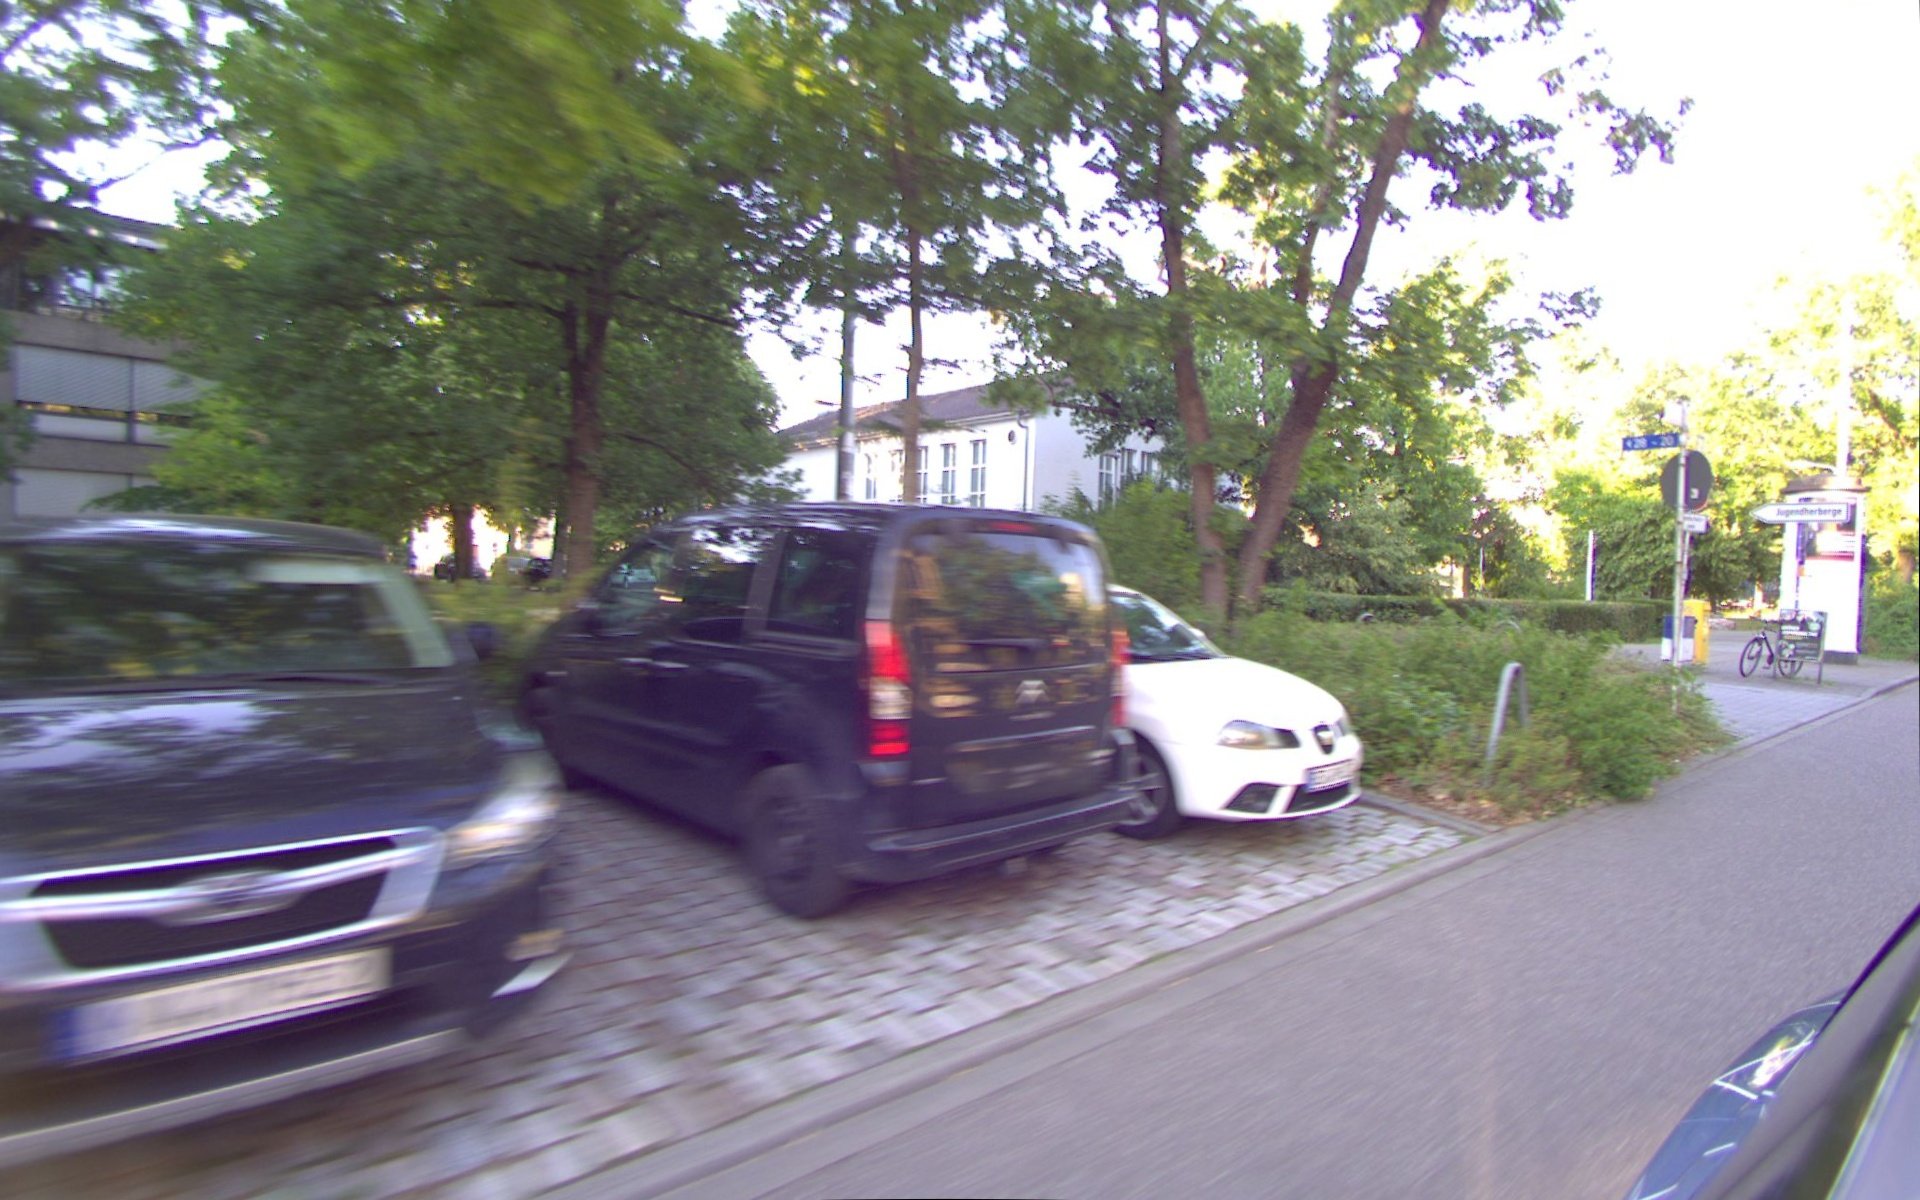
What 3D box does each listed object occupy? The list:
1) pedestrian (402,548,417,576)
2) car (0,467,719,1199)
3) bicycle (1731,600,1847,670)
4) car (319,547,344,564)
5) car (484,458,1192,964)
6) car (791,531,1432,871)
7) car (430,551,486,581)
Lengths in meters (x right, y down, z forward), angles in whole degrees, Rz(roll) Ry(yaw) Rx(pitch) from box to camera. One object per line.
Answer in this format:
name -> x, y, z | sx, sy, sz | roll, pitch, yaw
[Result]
pedestrian -> -36.580, -2.534, 67.227 | 0.709, 1.860, 0.739 | 0, 2, -43
car -> -2.790, 0.394, 3.720 | 1.844, 1.572, 4.372 | 0, 4, -41
bicycle -> 14.955, 0.638, 18.250 | 2.237, 1.162, 0.495 | 2, 3, -21
car -> -78.590, -5.513, 126.477 | 1.966, 2.038, 3.993 | 0, 2, -43
car -> -1.074, 0.242, 5.860 | 1.887, 1.802, 4.372 | 0, 4, -41
car -> 0.724, 0.389, 7.154 | 1.697, 1.572, 4.372 | 0, 4, -41
car -> -26.526, -1.802, 53.397 | 1.706, 1.495, 3.995 | 0, 2, -41
